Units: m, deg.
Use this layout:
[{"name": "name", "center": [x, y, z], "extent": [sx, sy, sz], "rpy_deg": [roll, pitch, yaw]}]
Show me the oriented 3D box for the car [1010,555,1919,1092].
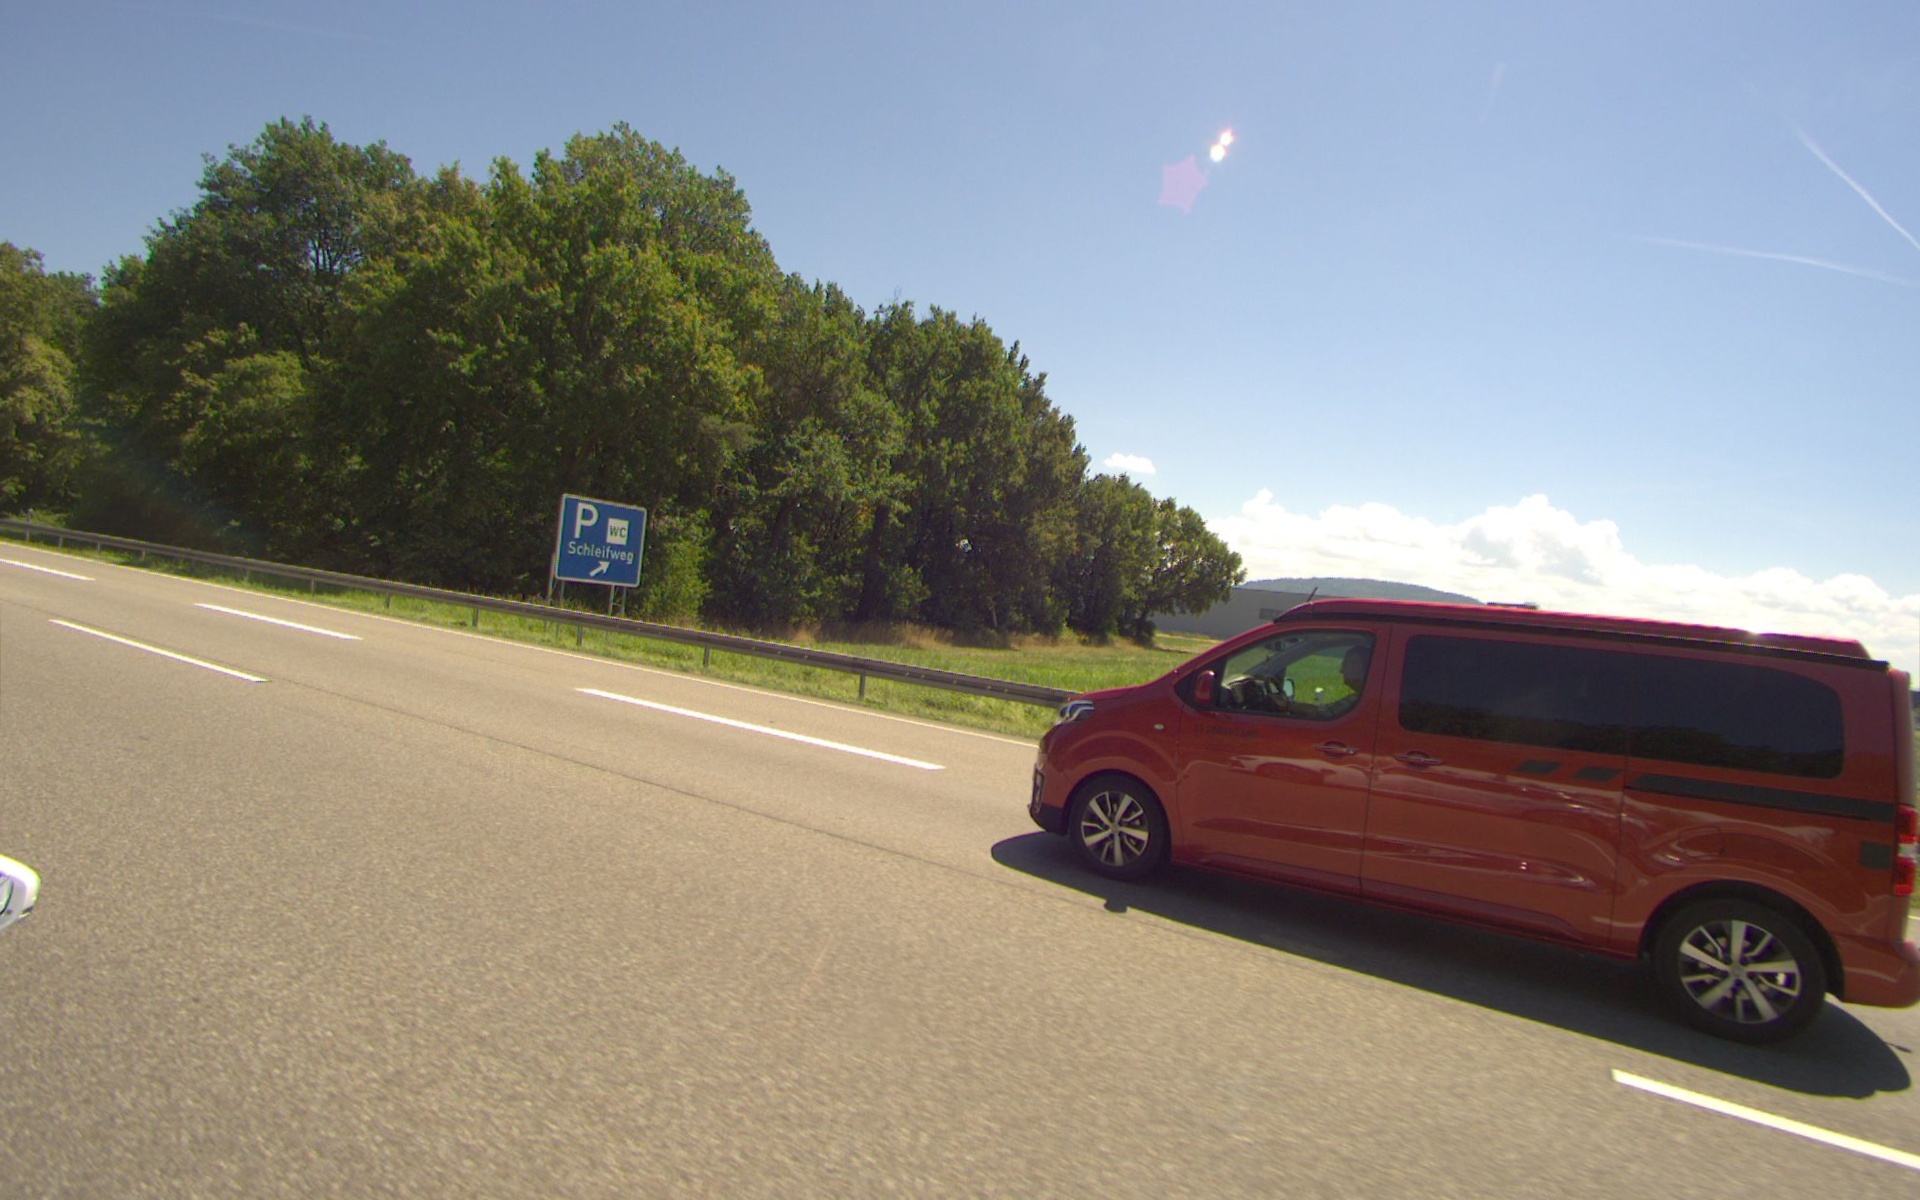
[{"name": "car", "center": [3.223, 1.052, 6.147], "extent": [5.431, 2.026, 1.859], "rpy_deg": [6, -2, 32]}]
